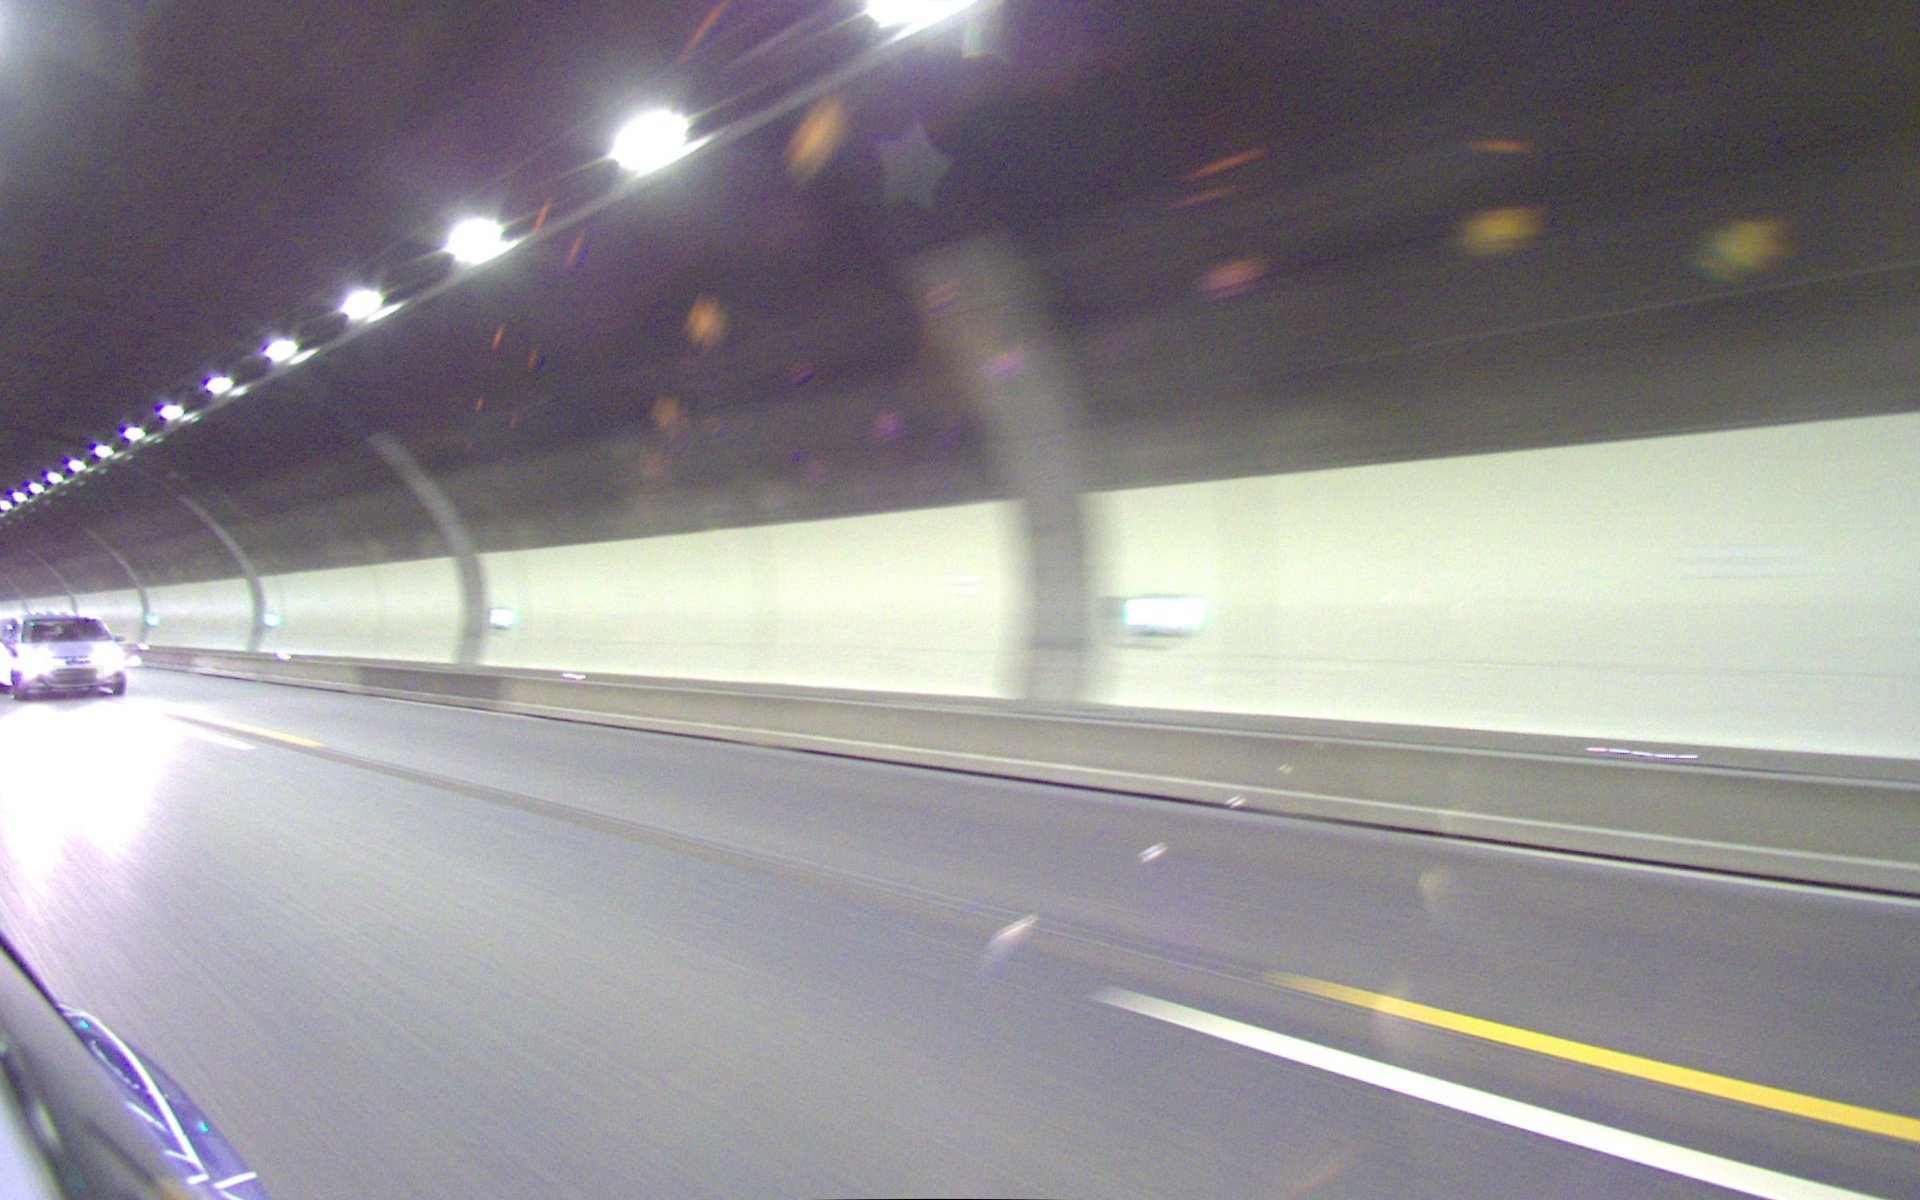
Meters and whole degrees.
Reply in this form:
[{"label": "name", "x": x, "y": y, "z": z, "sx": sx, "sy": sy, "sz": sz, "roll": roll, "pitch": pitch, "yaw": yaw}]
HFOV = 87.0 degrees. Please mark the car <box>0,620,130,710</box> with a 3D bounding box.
[{"label": "car", "x": -17.744, "y": 1.181, "z": 19.758, "sx": 4.096, "sy": 1.584, "sz": 1.743, "roll": -1, "pitch": -1, "yaw": 41}]
